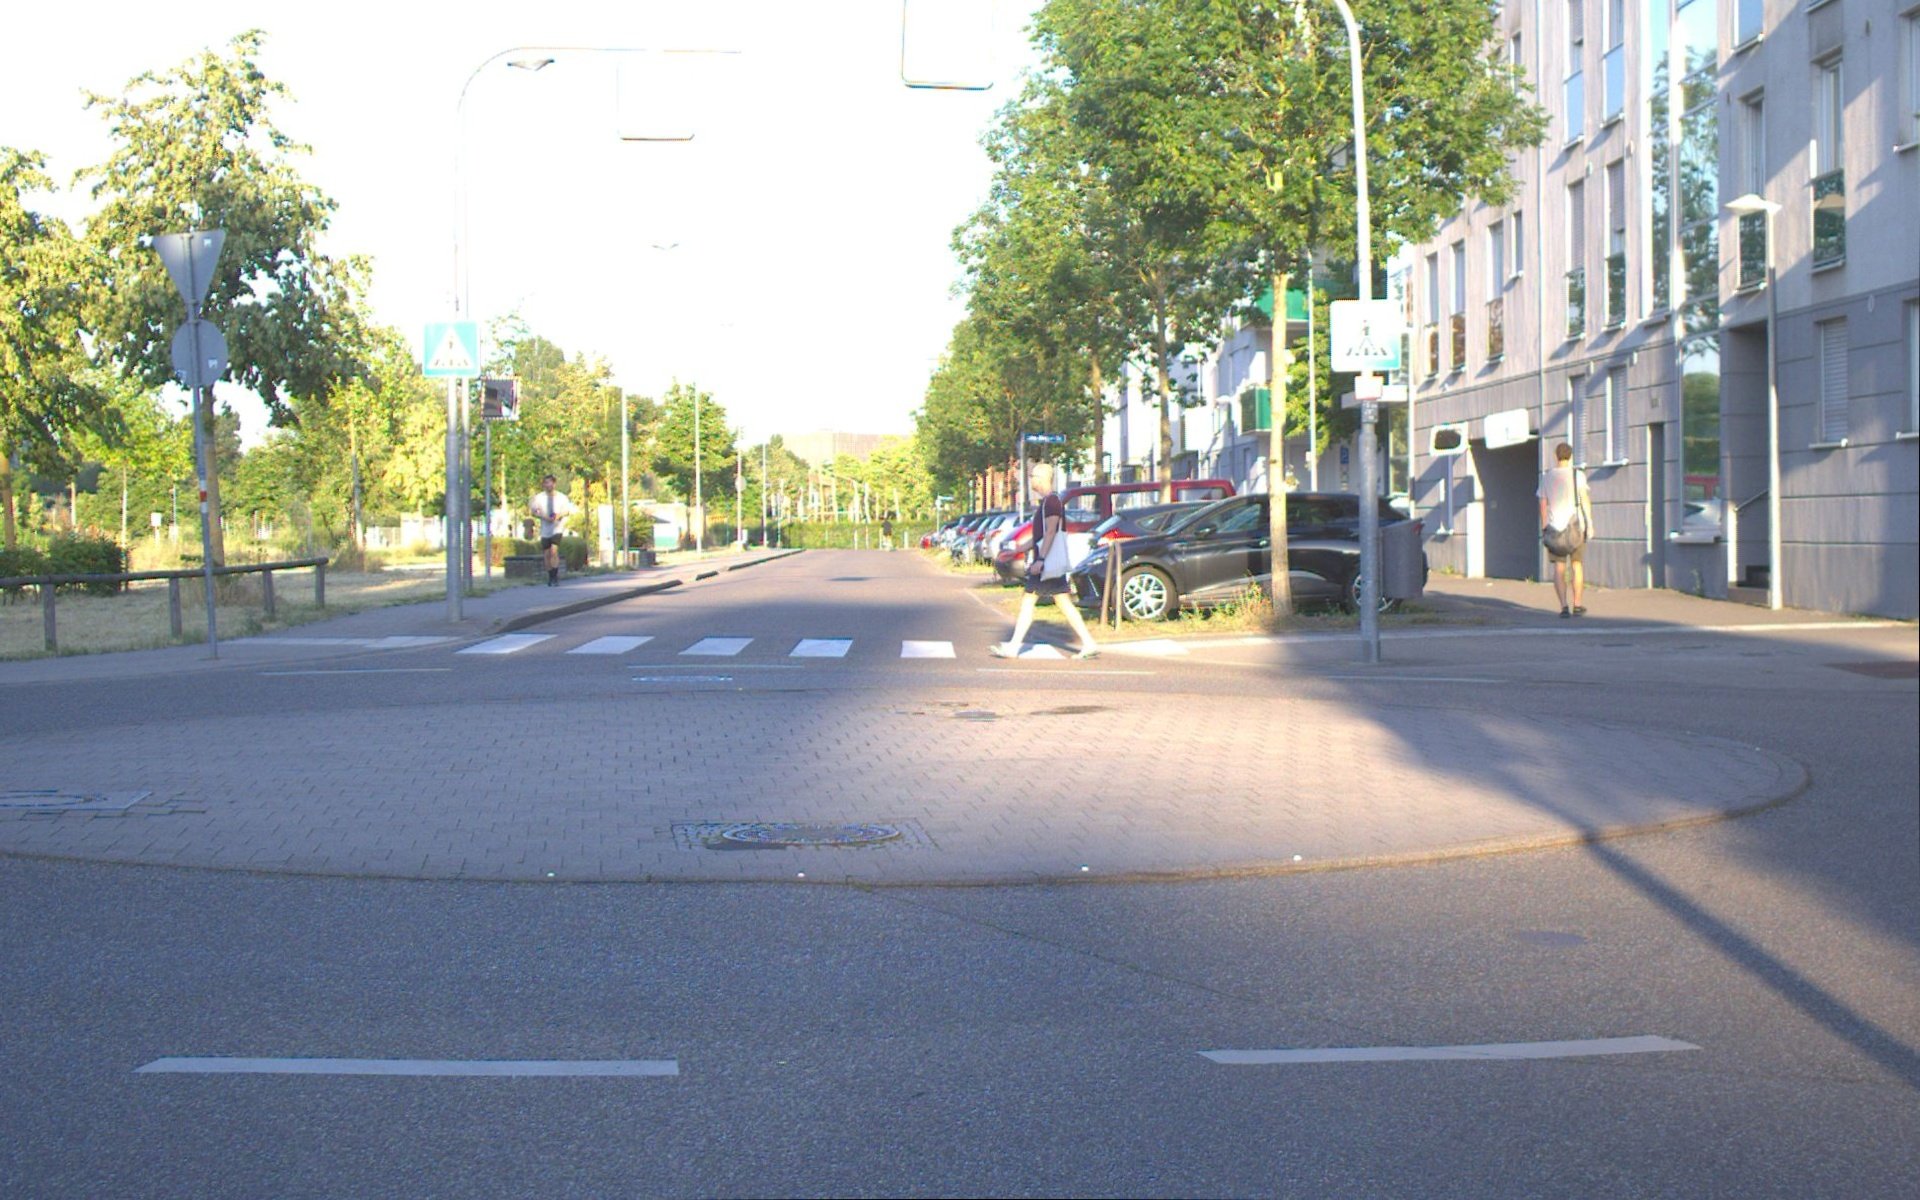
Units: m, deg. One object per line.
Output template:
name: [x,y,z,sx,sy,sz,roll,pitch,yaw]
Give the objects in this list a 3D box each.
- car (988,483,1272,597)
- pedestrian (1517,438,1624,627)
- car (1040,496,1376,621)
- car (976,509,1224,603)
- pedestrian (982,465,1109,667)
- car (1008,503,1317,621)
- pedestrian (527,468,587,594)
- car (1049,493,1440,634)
car: [3.143,-1.120,64.115,5.002,2.038,2.251,-1,1,-5]
pedestrian: [6.601,-0.732,37.217,0.940,2.007,0.849,-1,1,-5]
car: [3.274,-0.568,46.103,4.355,1.590,2.000,-1,1,0]
car: [2.455,-0.792,61.043,4.263,1.590,2.000,-1,1,-2]
pedestrian: [0.762,-0.309,30.835,1.003,1.782,0.762,1,1,-7]
car: [2.831,-0.553,48.835,4.263,1.590,2.000,-1,1,0]
pedestrian: [-6.481,-1.105,55.238,0.866,2.007,0.790,-1,1,-11]
car: [3.327,-0.447,40.940,4.484,1.590,2.000,-1,1,0]
